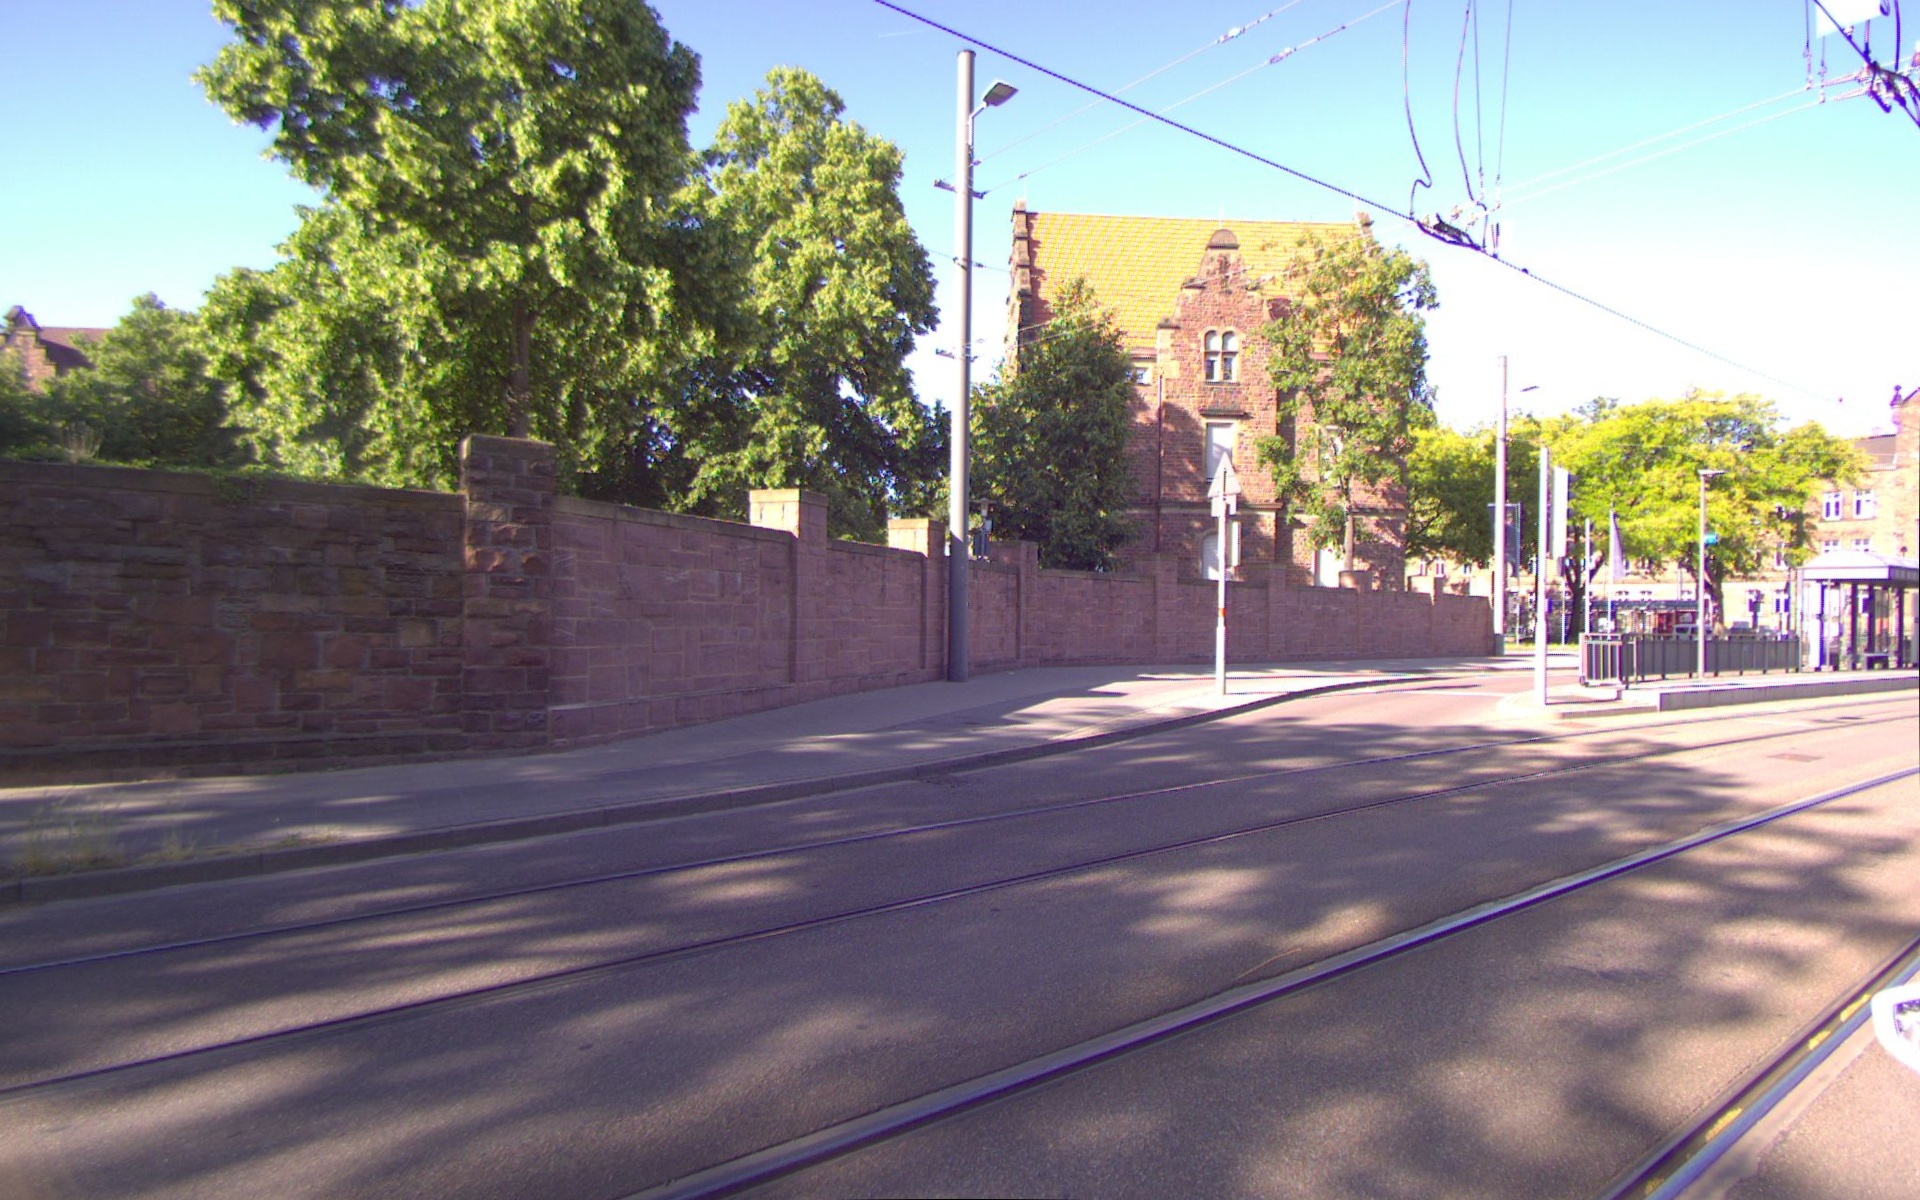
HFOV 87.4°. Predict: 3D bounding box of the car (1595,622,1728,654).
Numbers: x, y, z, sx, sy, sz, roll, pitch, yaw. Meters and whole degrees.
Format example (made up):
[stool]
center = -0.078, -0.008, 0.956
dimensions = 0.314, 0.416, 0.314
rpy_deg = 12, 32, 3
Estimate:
[car]
center = 47.931, 2.583, 68.808
dimensions = 2.957, 1.946, 6.915
rpy_deg = 1, -1, -30
